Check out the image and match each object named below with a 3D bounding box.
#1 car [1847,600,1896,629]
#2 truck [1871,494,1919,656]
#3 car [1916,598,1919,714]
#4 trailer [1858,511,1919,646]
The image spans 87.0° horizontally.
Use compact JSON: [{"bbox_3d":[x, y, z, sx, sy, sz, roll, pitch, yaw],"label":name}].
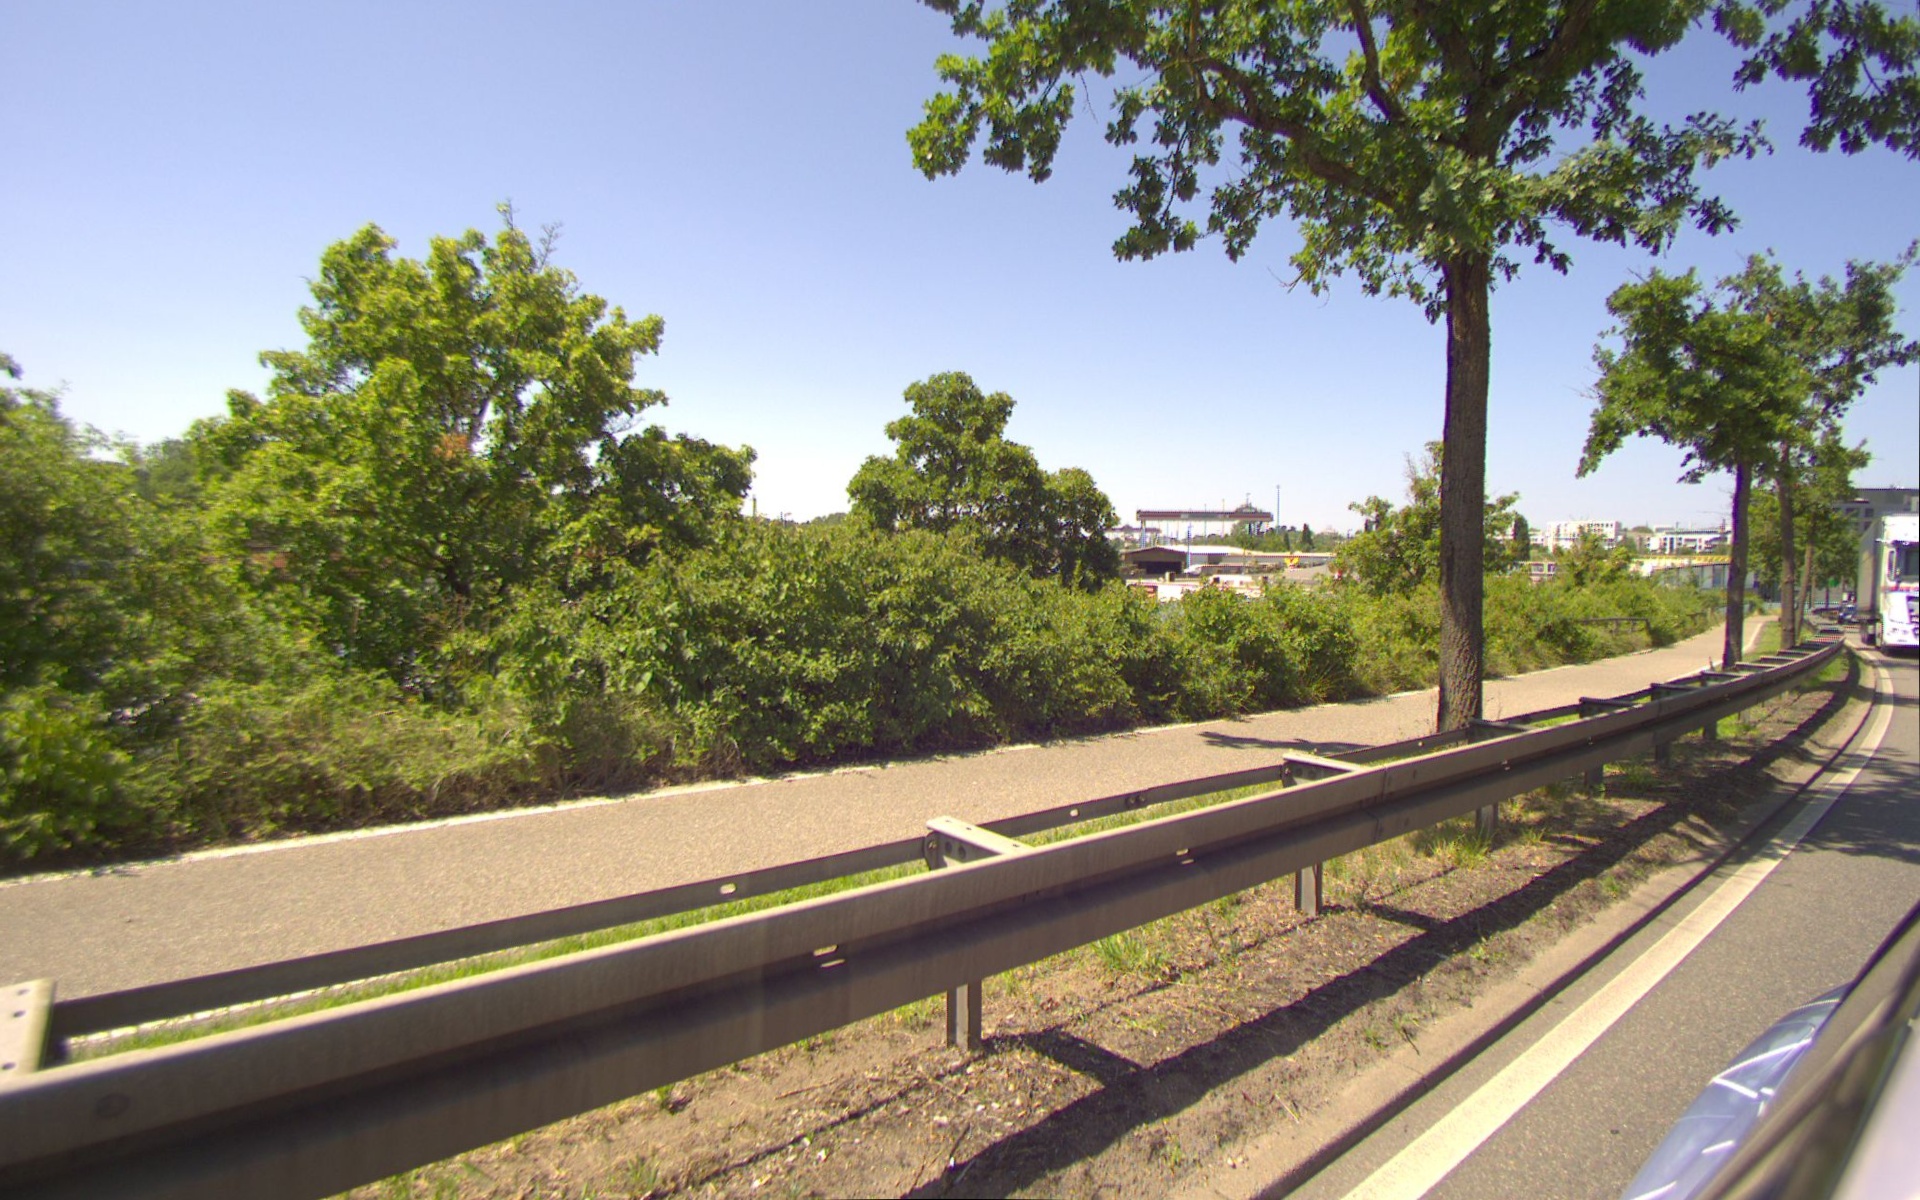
[{"bbox_3d":[53.675,0.851,59.570,1.971,1.596,3.936,1,1,44],"label":"car"},{"bbox_3d":[29.073,-0.678,29.851,2.846,4.322,8.689,1,1,40],"label":"truck"},{"bbox_3d":[13.947,0.711,13.189,3.650,1.446,1.815,0,1,-41],"label":"car"},{"bbox_3d":[35.120,-0.715,37.088,2.870,4.267,13.804,1,1,40],"label":"trailer"}]
